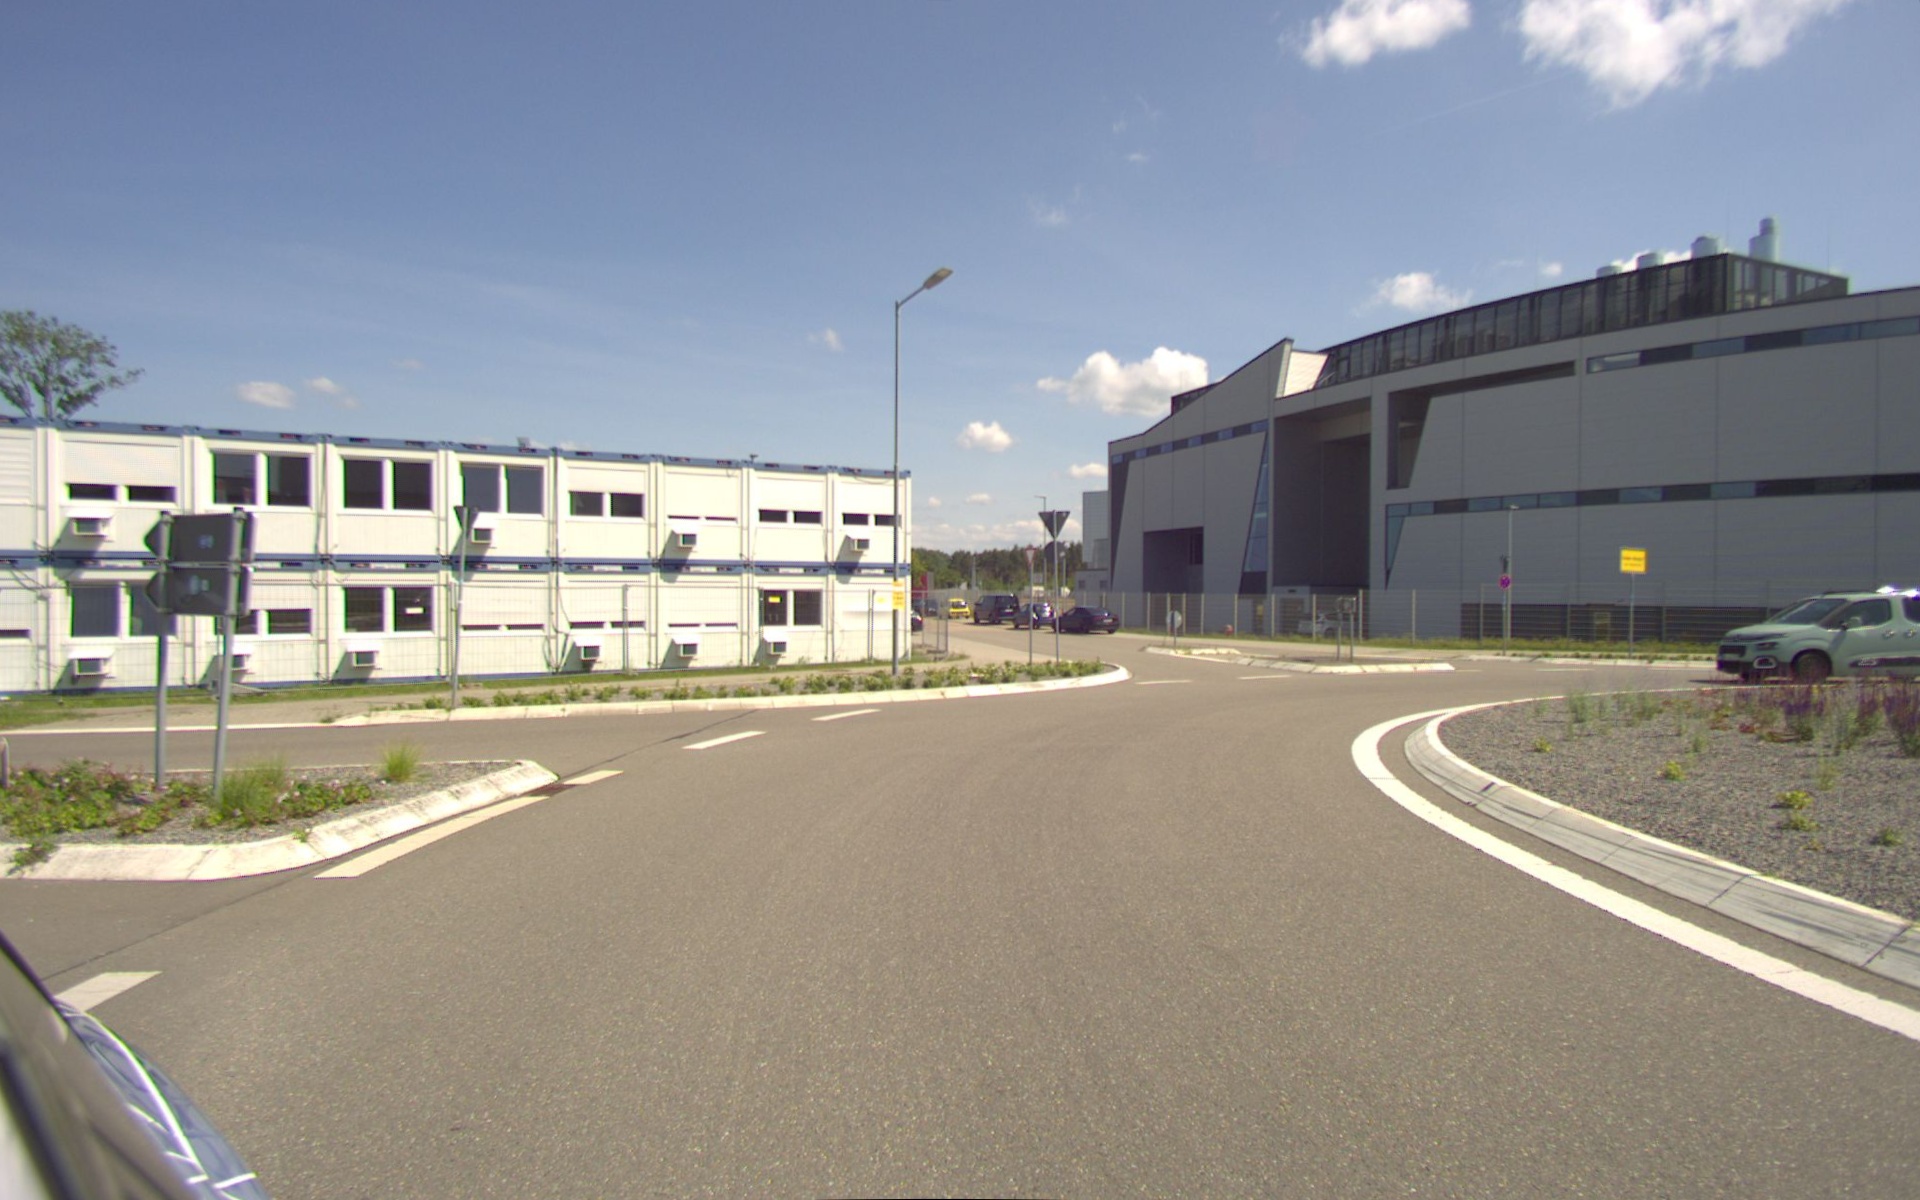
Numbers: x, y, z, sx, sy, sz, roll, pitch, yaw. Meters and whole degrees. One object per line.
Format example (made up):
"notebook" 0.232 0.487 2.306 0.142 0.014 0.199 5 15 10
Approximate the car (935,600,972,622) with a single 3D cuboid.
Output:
"car" -0.508 0.813 76.246 1.967 1.561 4.324 0 1 -11

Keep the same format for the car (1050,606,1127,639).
"car" 6.654 1.145 53.012 1.965 1.561 4.328 0 1 -26

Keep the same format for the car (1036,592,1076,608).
"car" 11.290 -0.023 118.497 4.239 1.881 2.007 0 1 -24

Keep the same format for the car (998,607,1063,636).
"car" 4.119 1.228 59.552 1.965 1.561 4.328 0 1 -25

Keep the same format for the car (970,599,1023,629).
"car" 2.343 0.862 66.220 1.965 1.845 4.328 0 1 -20

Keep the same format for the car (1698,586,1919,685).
"car" 17.144 0.639 19.291 4.508 1.793 1.995 0 0 9

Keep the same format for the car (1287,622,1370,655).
"car" 21.048 2.160 57.774 4.239 1.703 2.007 0 1 -24

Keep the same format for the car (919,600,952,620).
"car" -1.974 0.788 81.089 1.967 1.561 4.324 0 1 -10

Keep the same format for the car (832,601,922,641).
"car" -4.158 1.012 50.316 4.242 1.881 2.005 0 1 -12
